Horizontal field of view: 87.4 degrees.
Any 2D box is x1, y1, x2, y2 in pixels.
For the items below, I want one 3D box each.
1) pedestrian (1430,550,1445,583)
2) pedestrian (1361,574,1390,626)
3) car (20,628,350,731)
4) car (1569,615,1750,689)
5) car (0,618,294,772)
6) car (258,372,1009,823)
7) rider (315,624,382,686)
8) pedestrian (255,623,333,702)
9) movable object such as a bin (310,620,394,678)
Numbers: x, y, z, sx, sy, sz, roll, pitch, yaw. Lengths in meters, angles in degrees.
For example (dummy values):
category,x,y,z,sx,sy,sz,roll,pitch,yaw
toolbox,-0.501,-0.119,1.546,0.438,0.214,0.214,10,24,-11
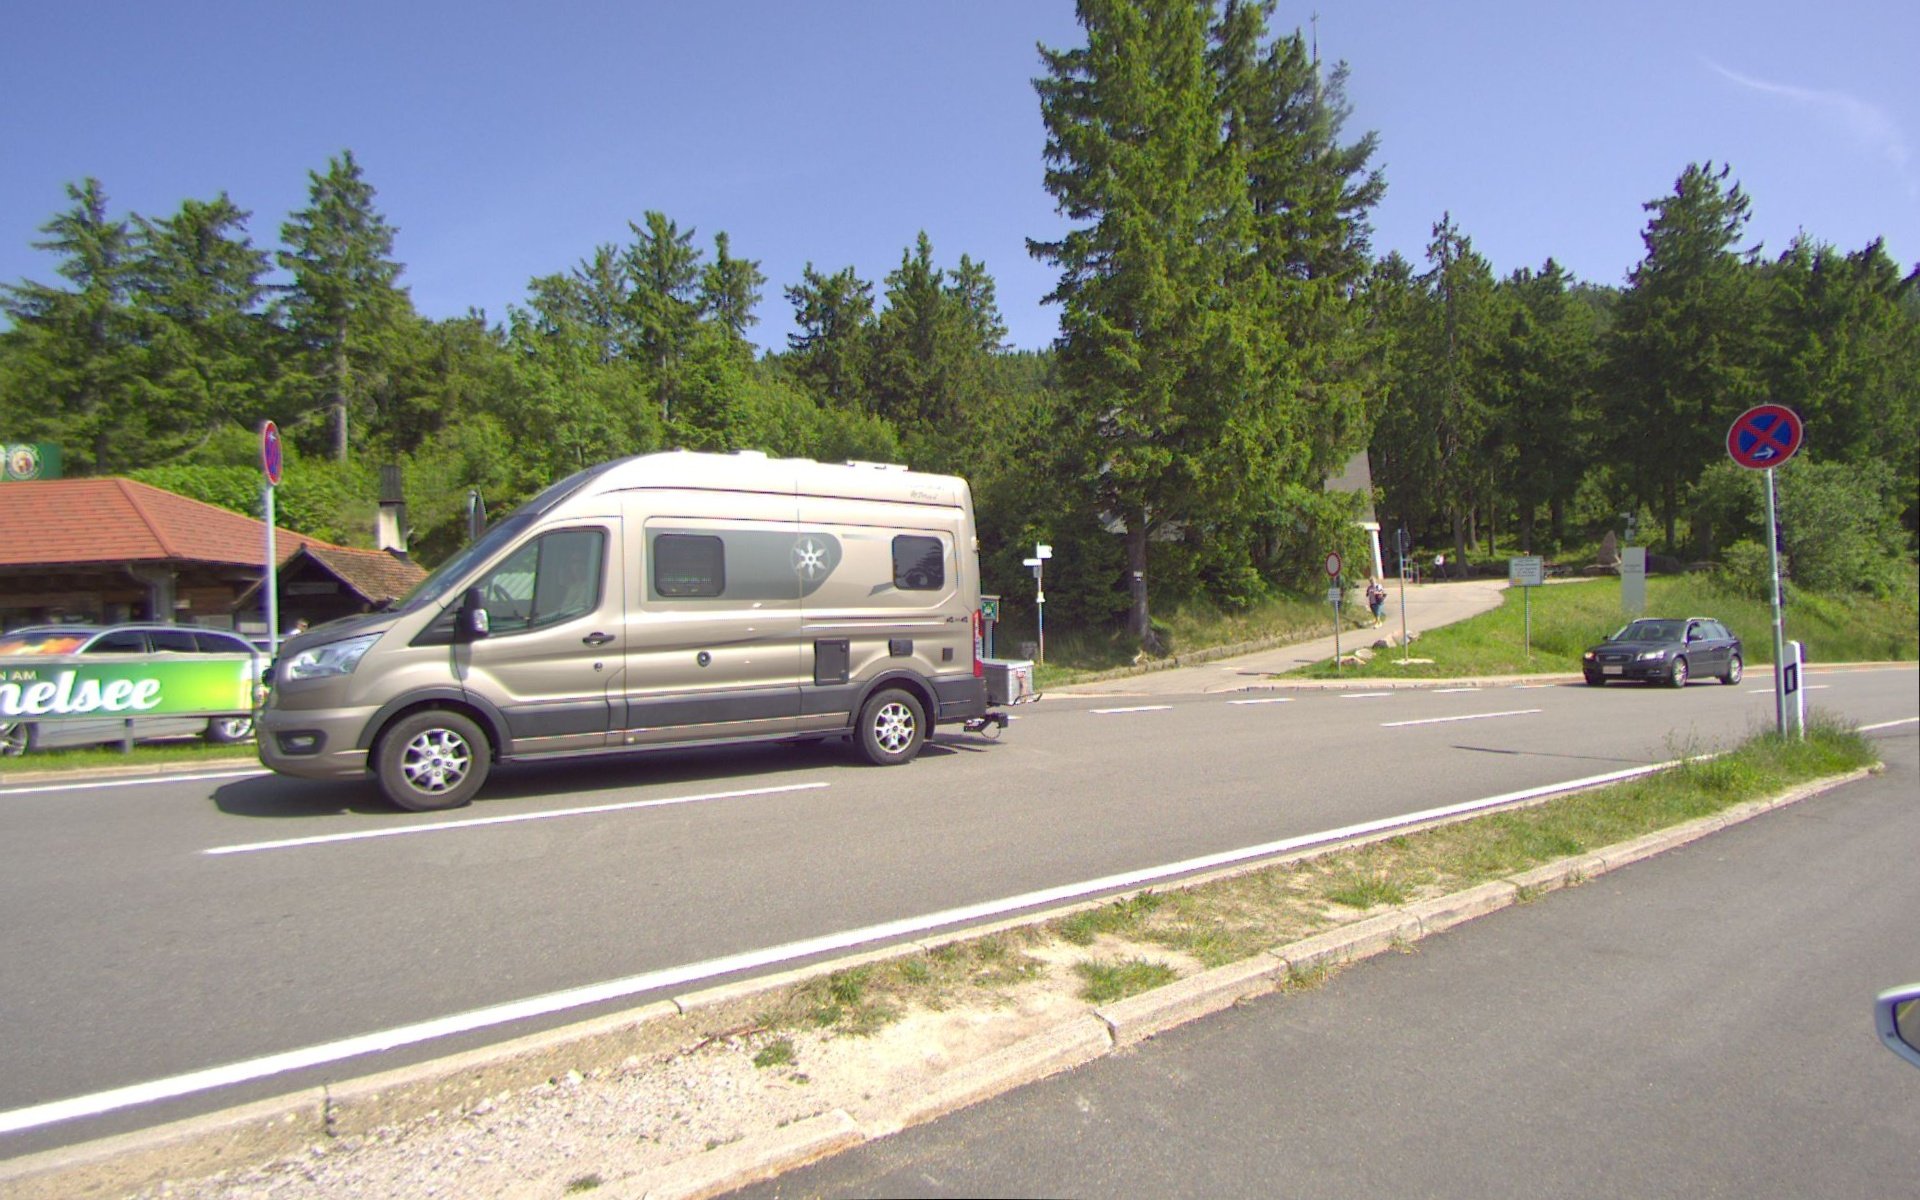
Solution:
category,x,y,z,sx,sy,sz,roll,pitch,yaw
pedestrian,27.860,-1.933,58.626,0.531,1.902,0.683,0,-1,0
pedestrian,13.881,0.015,33.565,0.711,1.703,0.680,-2,-2,38
car,-12.054,1.188,16.003,3.954,1.449,1.708,1,-2,-31
car,15.183,1.069,21.738,4.402,1.457,1.696,1,-2,-33
car,-9.767,0.969,10.996,1.687,1.449,4.506,-1,-2,5
car,-2.498,0.041,8.730,5.858,2.787,1.998,1,-2,-35
rider,-13.084,1.173,21.497,0.891,1.291,0.840,-1,-1,14
pedestrian,-14.923,1.377,22.529,1.141,1.721,0.977,0,-2,-10
movable object such as a bin,-13.005,1.034,21.507,1.192,1.204,0.984,-1,-1,14
